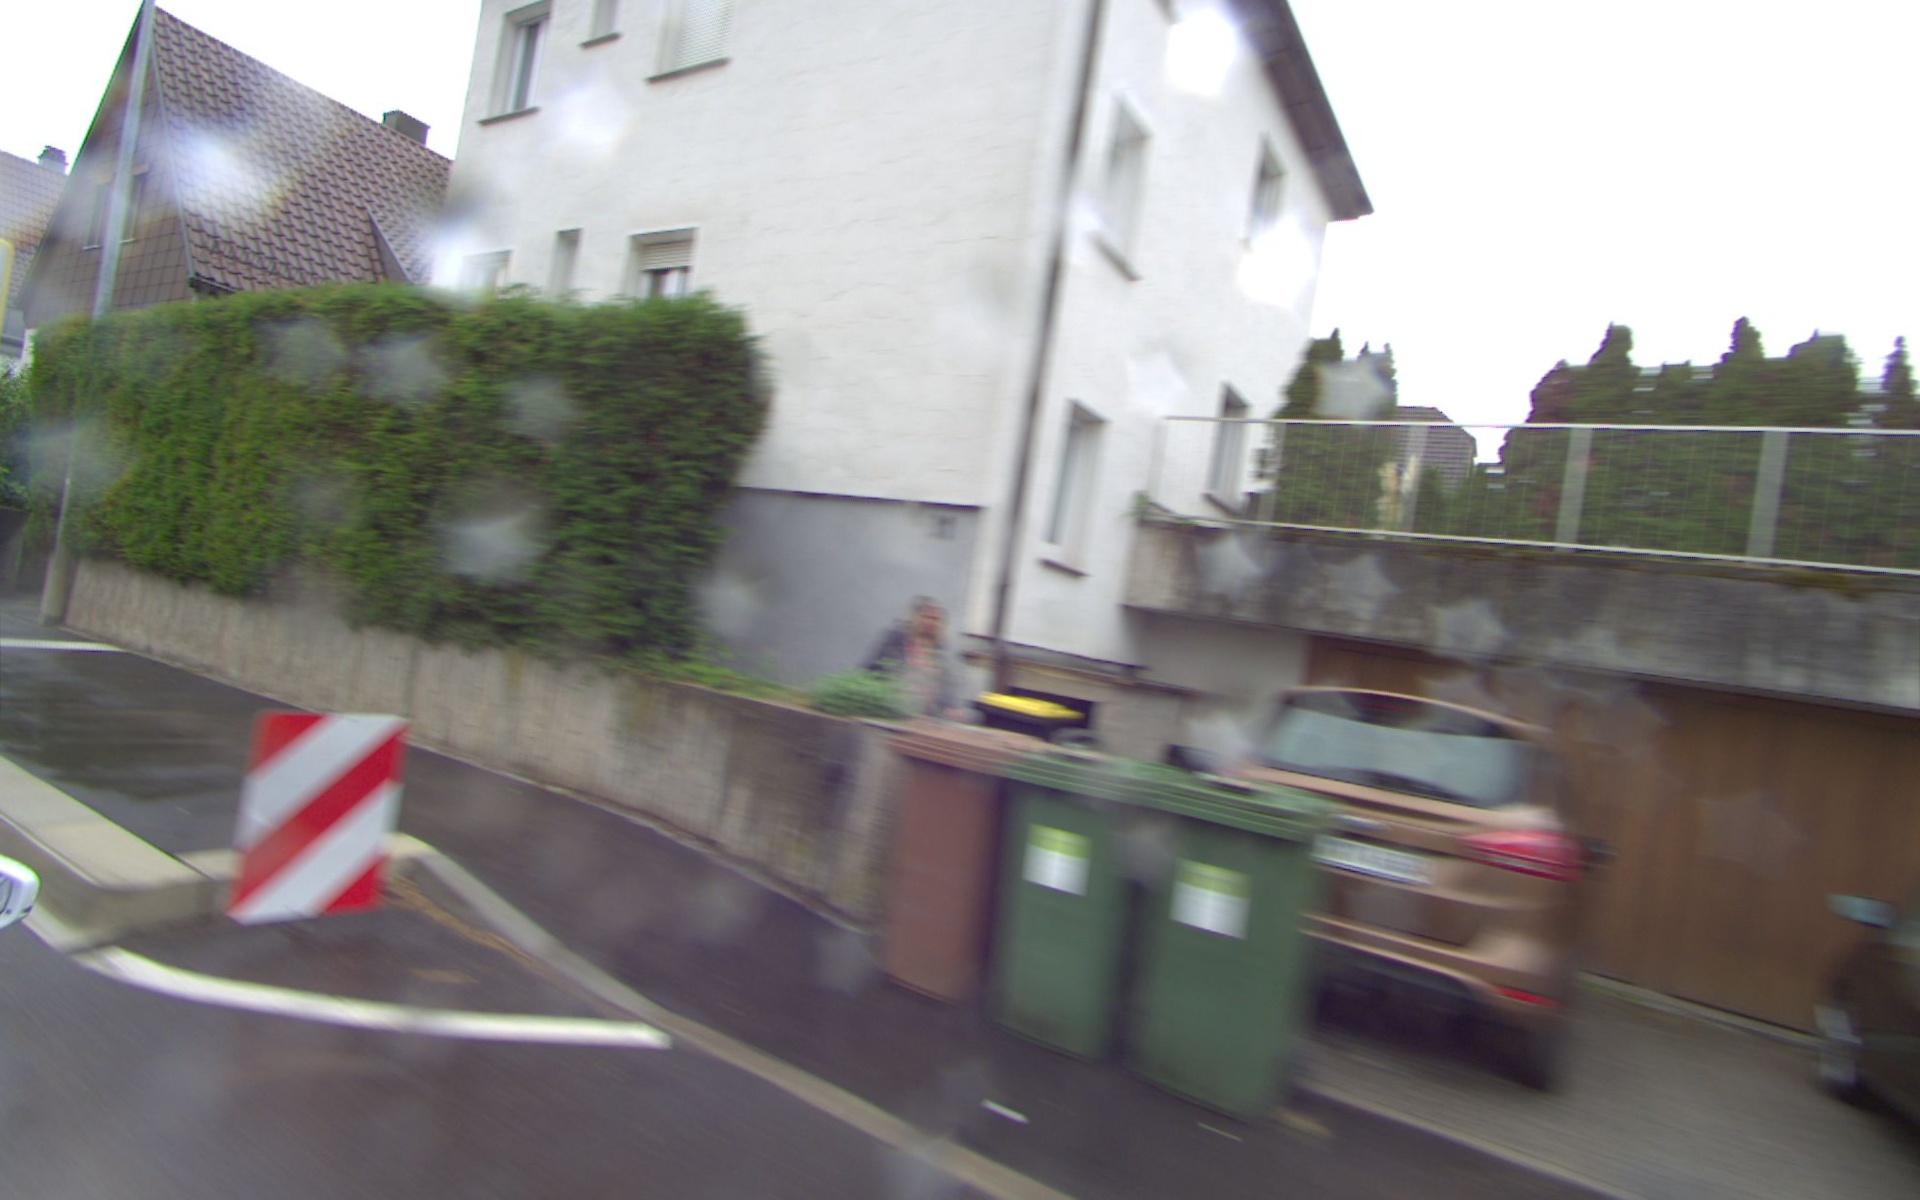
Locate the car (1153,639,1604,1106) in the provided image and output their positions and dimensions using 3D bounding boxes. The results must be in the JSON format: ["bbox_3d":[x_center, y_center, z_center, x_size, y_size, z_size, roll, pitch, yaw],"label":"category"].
[{"bbox_3d":[2.540,1.162,5.570,1.555,1.528,3.481,7,-1,33],"label":"car"}]

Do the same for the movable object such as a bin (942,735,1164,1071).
[{"bbox_3d":[0.375,1.113,3.909,0.529,1.089,0.569,7,-1,31],"label":"movable object such as a bin"}]

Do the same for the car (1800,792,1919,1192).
[{"bbox_3d":[4.613,1.646,3.845,1.555,1.493,3.462,7,-8,33],"label":"car"}]

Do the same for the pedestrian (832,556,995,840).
[{"bbox_3d":[-0.304,0.639,6.735,0.609,1.746,0.629,7,-1,34],"label":"pedestrian"}]

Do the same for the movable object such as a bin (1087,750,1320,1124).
[{"bbox_3d":[0.882,1.131,3.591,0.529,1.089,0.569,7,-1,31],"label":"movable object such as a bin"}]
